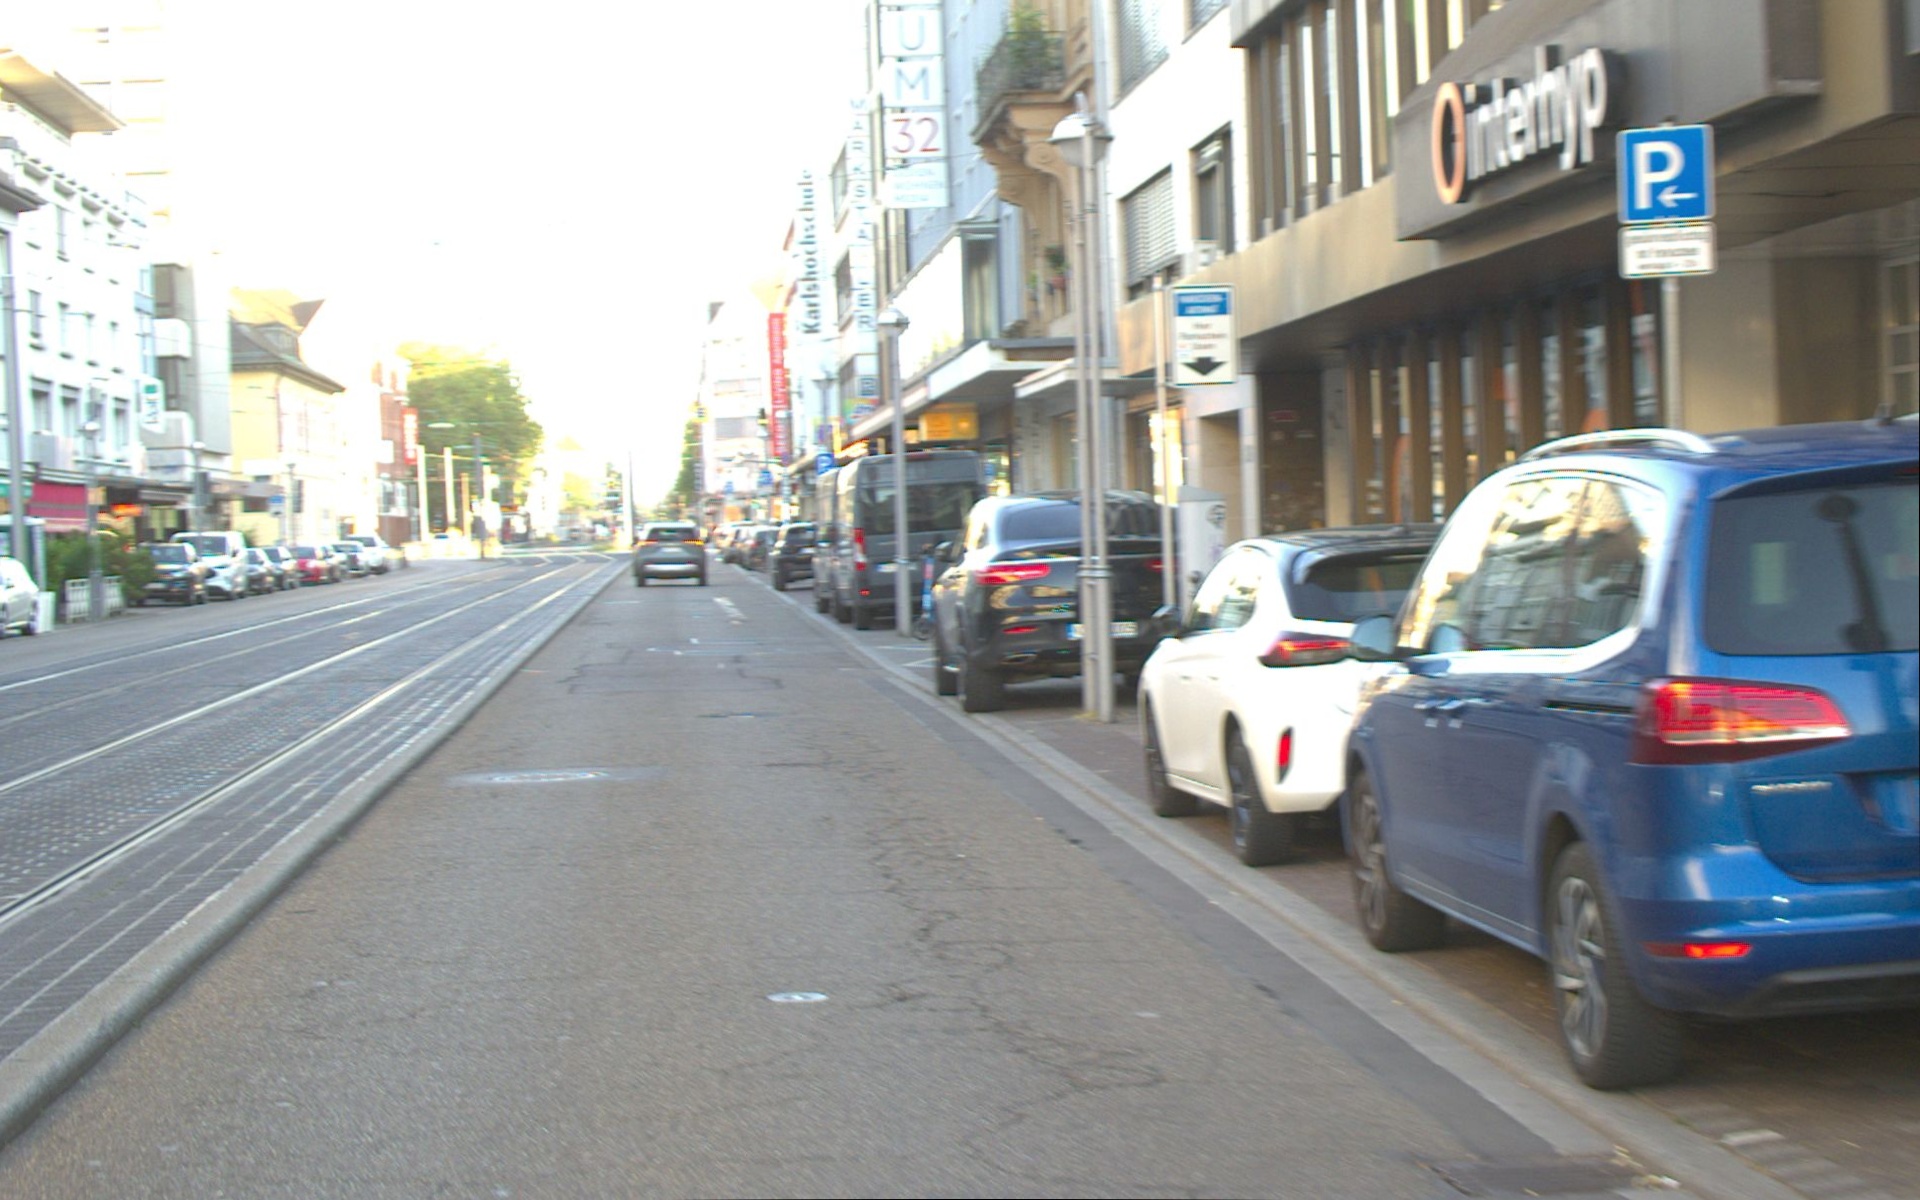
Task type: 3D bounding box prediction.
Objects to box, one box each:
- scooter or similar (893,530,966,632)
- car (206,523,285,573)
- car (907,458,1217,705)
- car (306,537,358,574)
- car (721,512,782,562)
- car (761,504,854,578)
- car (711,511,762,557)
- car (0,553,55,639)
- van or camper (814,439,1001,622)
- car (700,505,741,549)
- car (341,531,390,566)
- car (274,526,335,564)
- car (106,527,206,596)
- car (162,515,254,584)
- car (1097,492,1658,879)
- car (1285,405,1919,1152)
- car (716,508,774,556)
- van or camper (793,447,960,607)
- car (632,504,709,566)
[{"bbox_3d":[-0.382,-0.249,43.528,0.354,1.219,1.114,-3,2,28],"label":"scooter or similar"},{"bbox_3d":[-22.085,-1.628,106.387,1.917,1.516,4.631,0,1,-6],"label":"car"},{"bbox_3d":[0.743,-0.196,28.447,1.984,1.728,4.671,-4,2,-4],"label":"car"},{"bbox_3d":[-25.717,-1.836,140.907,1.790,1.444,3.892,0,1,-6],"label":"car"},{"bbox_3d":[-7.219,-2.183,118.520,1.943,1.539,4.545,-4,2,-4],"label":"car"},{"bbox_3d":[-3.605,-1.408,80.546,1.943,1.539,4.545,-4,2,-4],"label":"car"},{"bbox_3d":[-9.112,-2.690,139.987,1.943,1.697,4.545,-4,2,-4],"label":"car"},{"bbox_3d":[-18.236,-0.099,63.981,1.849,1.499,4.843,0,1,-5],"label":"car"},{"bbox_3d":[-0.865,-1.049,51.551,2.188,2.418,6.134,-4,2,-5],"label":"van or camper"},{"bbox_3d":[-12.449,-3.809,178.332,1.943,2.138,4.545,-4,2,-4],"label":"car"},{"bbox_3d":[-25.419,-2.221,147.004,1.790,1.444,3.892,0,1,-6],"label":"car"},{"bbox_3d":[-23.337,-1.968,122.487,1.790,1.334,3.892,0,1,-6],"label":"car"},{"bbox_3d":[-21.152,-1.030,90.581,1.917,1.757,4.431,0,1,-5],"label":"car"},{"bbox_3d":[-21.505,-1.471,98.475,1.917,1.929,4.843,0,1,-5],"label":"car"},{"bbox_3d":[1.825,0.310,16.265,1.765,1.480,3.873,-4,2,-5],"label":"car"},{"bbox_3d":[2.372,0.323,10.425,1.914,1.711,4.564,-4,2,-4],"label":"car"},{"bbox_3d":[-7.754,-2.455,123.611,1.943,1.539,4.545,-4,2,-4],"label":"car"},{"bbox_3d":[-1.466,-1.234,57.902,2.188,2.418,5.519,-4,2,-6],"label":"van or camper"},{"bbox_3d":[-7.618,-1.732,90.835,1.943,1.539,4.545,-1,2,-4],"label":"car"}]
